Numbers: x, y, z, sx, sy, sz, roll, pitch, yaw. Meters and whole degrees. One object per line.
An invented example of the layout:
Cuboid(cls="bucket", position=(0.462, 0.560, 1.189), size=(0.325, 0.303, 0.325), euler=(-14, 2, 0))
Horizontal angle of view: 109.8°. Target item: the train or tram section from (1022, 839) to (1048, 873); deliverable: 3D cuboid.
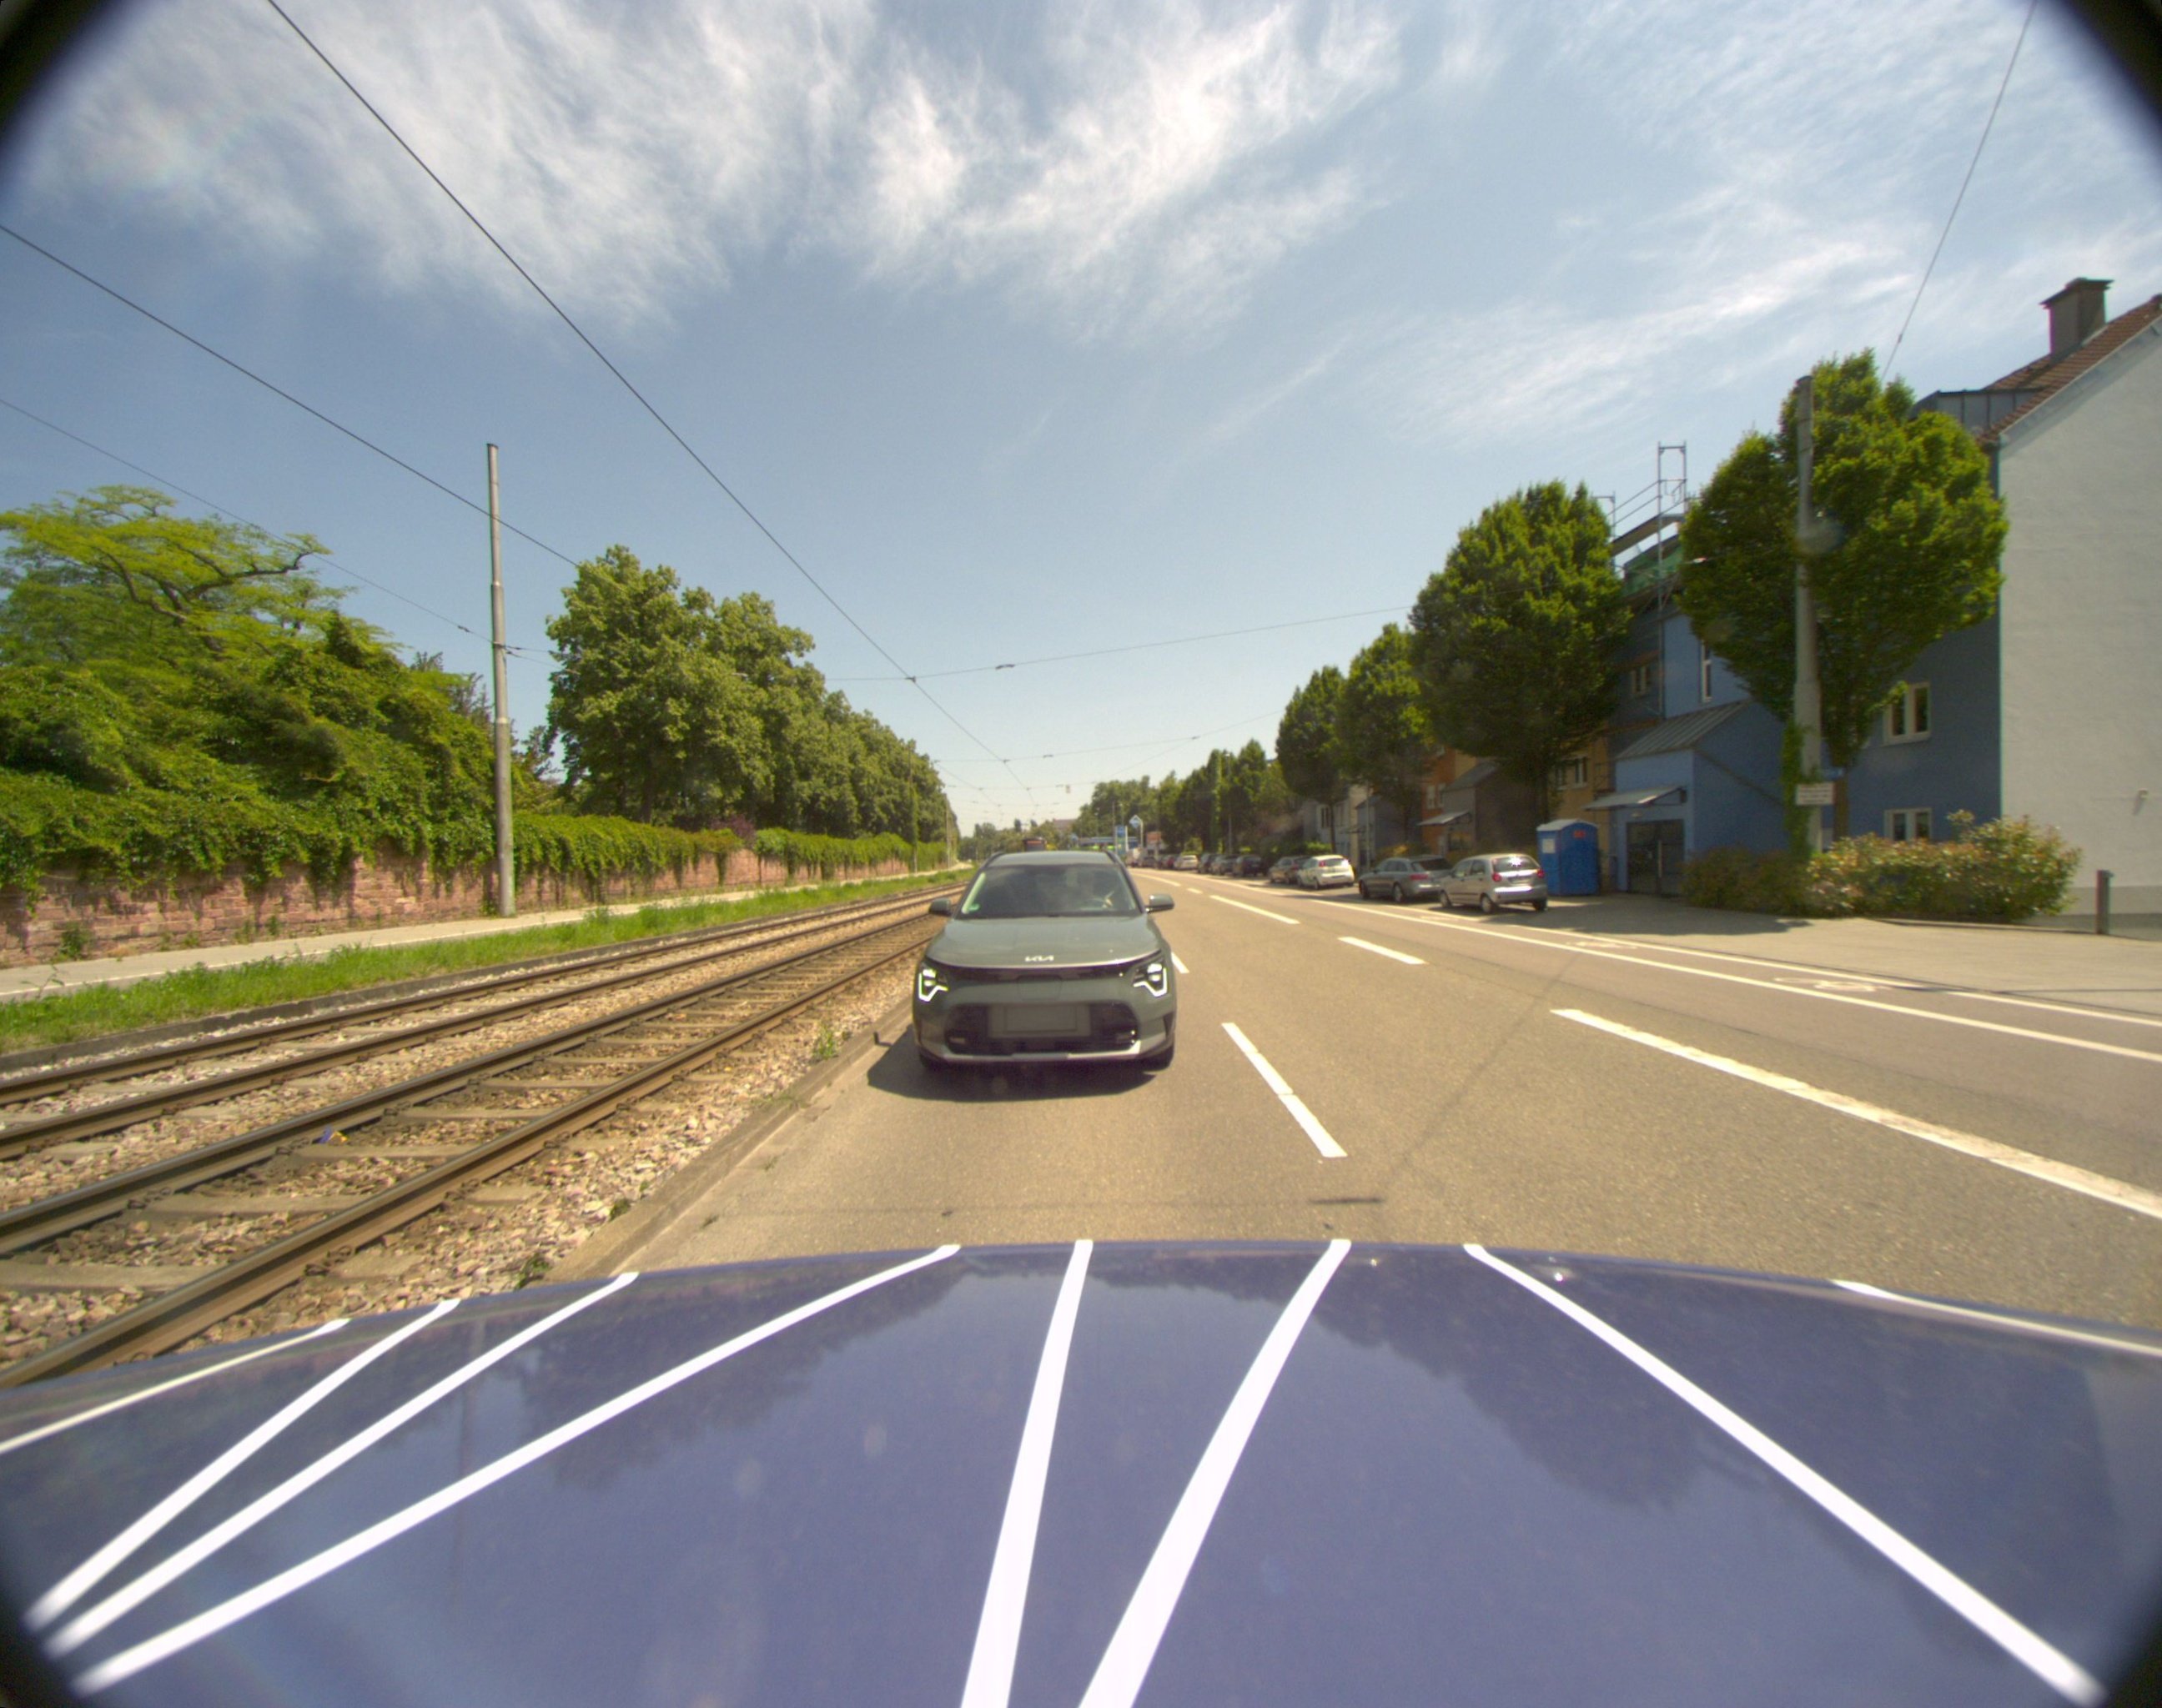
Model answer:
Cuboid(cls="train or tram section", position=(-5.681, 0.140, 93.888), size=(2.784, 3.789, 14.255), euler=(-2, 1, -3))

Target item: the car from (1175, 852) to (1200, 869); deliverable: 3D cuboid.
Cuboid(cls="car", position=(10.404, 0.613, 74.671), size=(1.723, 1.487, 4.082), euler=(-5, 0, 0))

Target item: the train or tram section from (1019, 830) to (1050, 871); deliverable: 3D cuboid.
Cuboid(cls="train or tram section", position=(-4.829, -0.386, 79.600), size=(2.814, 3.785, 14.255), euler=(-2, 1, -3))

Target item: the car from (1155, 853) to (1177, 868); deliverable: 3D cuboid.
Cuboid(cls="car", position=(9.526, 0.741, 85.308), size=(1.865, 1.487, 3.470), euler=(-4, 0, 0))

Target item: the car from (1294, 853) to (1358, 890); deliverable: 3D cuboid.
Cuboid(cls="car", position=(11.378, 0.770, 35.494), size=(1.656, 1.487, 3.649), euler=(-5, 0, 0))

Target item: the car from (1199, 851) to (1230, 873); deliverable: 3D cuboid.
Cuboid(cls="car", position=(11.042, 0.628, 63.098), size=(1.656, 1.578, 4.082), euler=(-5, 0, 0))

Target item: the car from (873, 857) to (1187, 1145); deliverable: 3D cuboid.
Cuboid(cls="car", position=(-0.266, 0.866, 6.617), size=(1.759, 1.574, 4.427), euler=(-2, 0, 1))

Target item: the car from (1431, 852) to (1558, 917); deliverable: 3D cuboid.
Cuboid(cls="car", position=(10.994, 0.743, 20.456), size=(1.505, 1.487, 3.282), euler=(-5, 0, 0))

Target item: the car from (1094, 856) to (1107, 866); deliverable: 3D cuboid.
Cuboid(cls="car", position=(3.010, 1.063, 117.726), size=(1.865, 1.487, 3.470), euler=(-5, 0, 0))

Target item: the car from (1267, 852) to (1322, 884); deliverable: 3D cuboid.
Cuboid(cls="car", position=(11.387, 0.706, 40.785), size=(1.656, 1.487, 4.082), euler=(-5, 0, 0))

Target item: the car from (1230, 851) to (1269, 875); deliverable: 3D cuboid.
Cuboid(cls="car", position=(11.542, 0.603, 52.369), size=(1.656, 1.487, 4.082), euler=(-5, 0, 0))

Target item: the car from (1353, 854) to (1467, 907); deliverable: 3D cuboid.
Cuboid(cls="car", position=(10.874, 0.807, 25.497), size=(1.680, 1.487, 4.638), euler=(-5, 0, 0))

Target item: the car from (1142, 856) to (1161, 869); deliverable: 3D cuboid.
Cuboid(cls="car", position=(8.762, 1.053, 94.352), size=(1.865, 1.487, 3.470), euler=(-5, 0, 0))

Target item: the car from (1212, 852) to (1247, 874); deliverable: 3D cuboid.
Cuboid(cls="car", position=(11.101, 0.650, 57.072), size=(1.656, 1.487, 4.082), euler=(-5, 0, 0))

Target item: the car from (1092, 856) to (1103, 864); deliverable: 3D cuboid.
Cuboid(cls="car", position=(3.128, 1.186, 144.380), size=(1.865, 1.487, 3.470), euler=(-1, 0, -1))

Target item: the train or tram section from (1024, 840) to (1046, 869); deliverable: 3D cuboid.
Cuboid(cls="train or tram section", position=(-6.468, -0.009, 108.108), size=(2.784, 3.786, 14.256), euler=(-2, 1, -3))

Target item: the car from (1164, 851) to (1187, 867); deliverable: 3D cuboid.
Cuboid(cls="car", position=(9.935, 0.527, 80.414), size=(1.865, 1.487, 3.470), euler=(-5, 0, 0))

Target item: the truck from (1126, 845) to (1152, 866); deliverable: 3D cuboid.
Cuboid(cls="truck", position=(7.636, 0.209, 100.482), size=(2.135, 2.565, 4.860), euler=(-5, 0, -8))
